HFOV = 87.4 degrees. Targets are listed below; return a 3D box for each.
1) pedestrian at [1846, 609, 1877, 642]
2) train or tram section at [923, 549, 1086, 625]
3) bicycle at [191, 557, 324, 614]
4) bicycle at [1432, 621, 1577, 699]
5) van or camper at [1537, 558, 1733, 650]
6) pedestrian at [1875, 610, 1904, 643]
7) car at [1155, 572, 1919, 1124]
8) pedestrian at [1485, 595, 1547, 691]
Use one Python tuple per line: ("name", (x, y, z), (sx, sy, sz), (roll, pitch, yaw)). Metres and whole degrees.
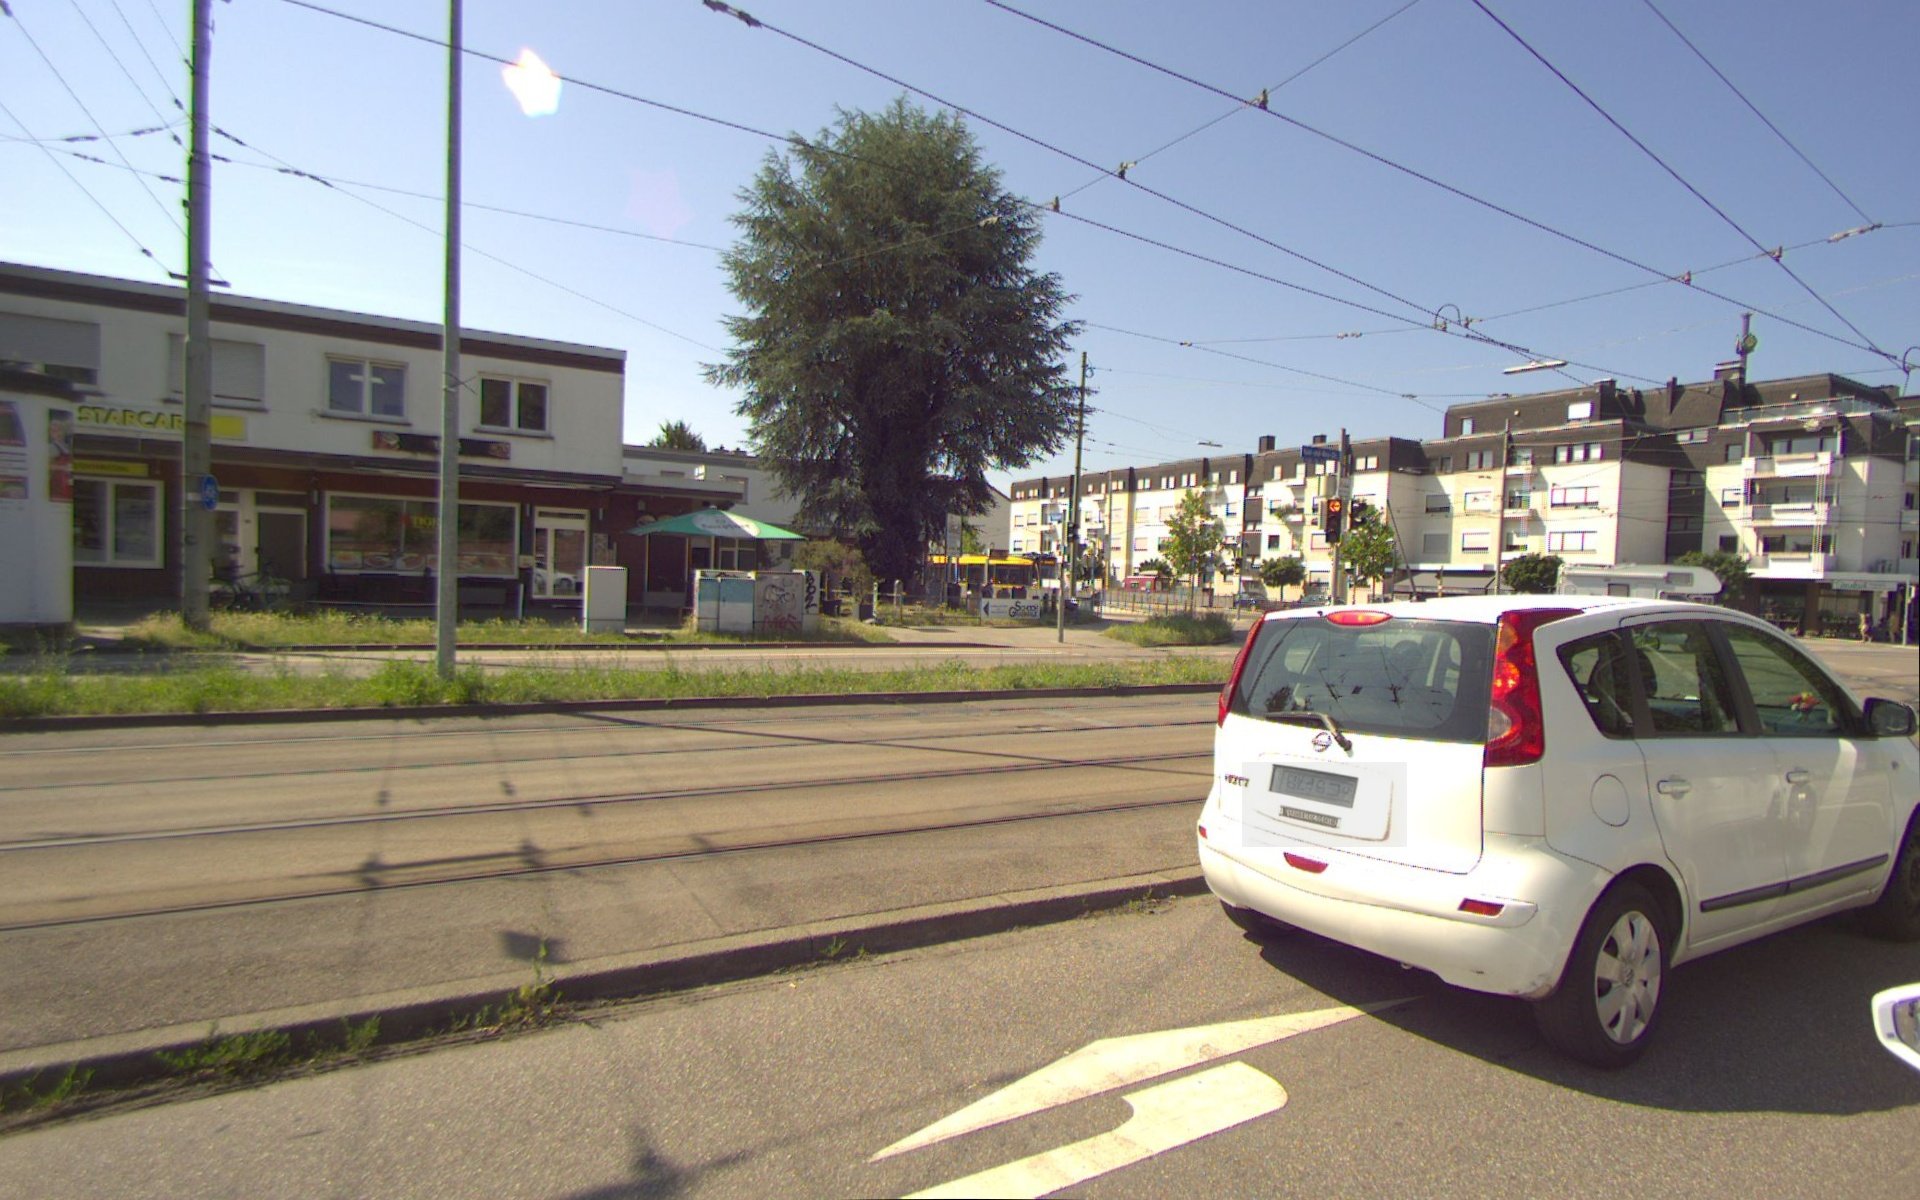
("pedestrian", (49.668, 1.391, 55.349), (0.956, 1.766, 0.864), (2, -1, 20))
("train or tram section", (3.041, -0.910, 78.764), (4.681, 5.217, 16.122), (2, -1, -30))
("bicycle", (-15.515, -0.292, 22.272), (2.306, 1.167, 0.783), (2, -1, -30))
("bicycle", (9.080, 0.967, 16.822), (0.705, 1.105, 1.999), (-1, 3, -44))
("van or camper", (24.455, 0.134, 36.758), (5.597, 3.133, 2.572), (1, -1, 27))
("pedestrian", (51.935, 1.474, 56.137), (0.957, 1.766, 0.863), (1, -1, 28))
("car", (2.861, 0.723, 4.559), (3.759, 1.587, 1.634), (0, 0, -31))
("pedestrian", (9.573, 0.728, 17.297), (0.671, 1.592, 0.738), (2, -1, -45))
